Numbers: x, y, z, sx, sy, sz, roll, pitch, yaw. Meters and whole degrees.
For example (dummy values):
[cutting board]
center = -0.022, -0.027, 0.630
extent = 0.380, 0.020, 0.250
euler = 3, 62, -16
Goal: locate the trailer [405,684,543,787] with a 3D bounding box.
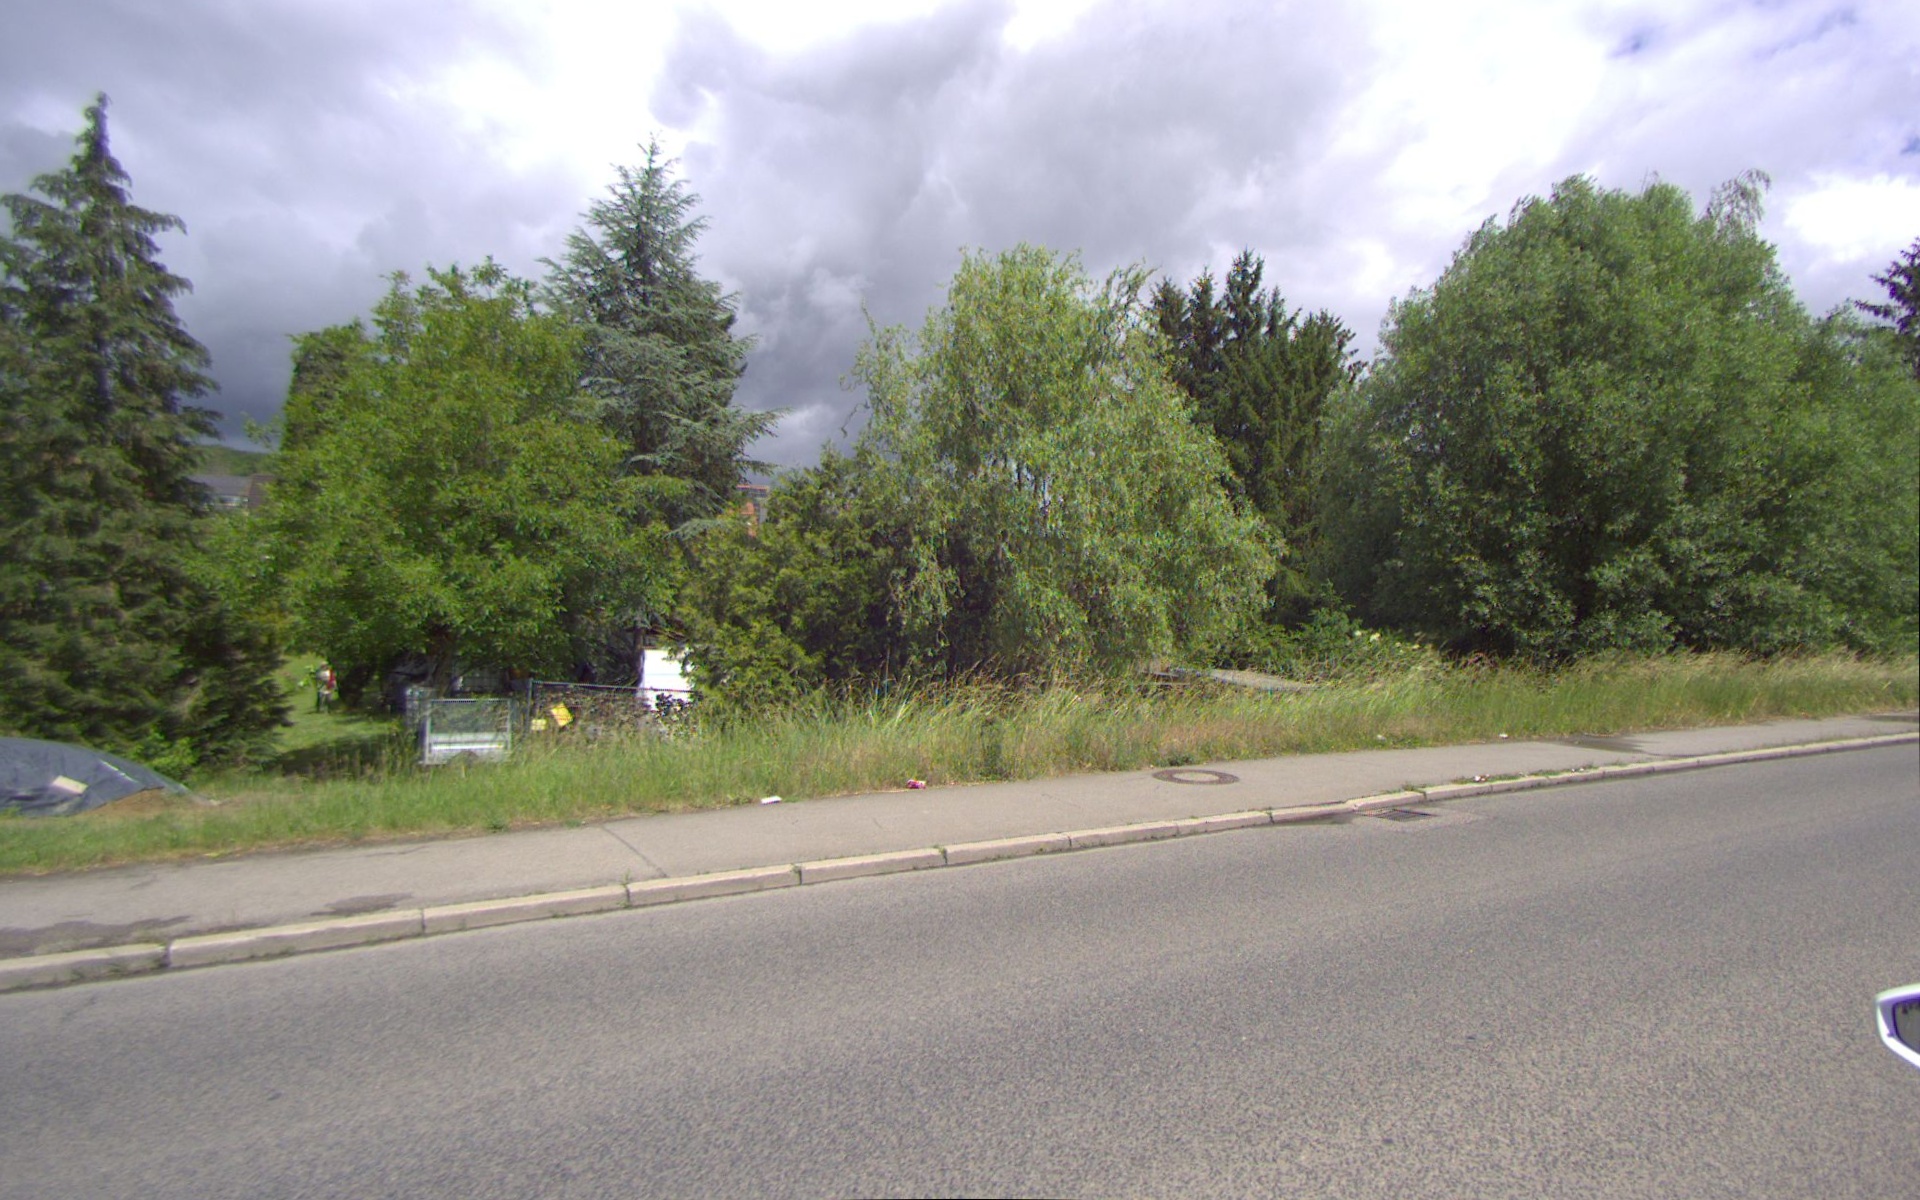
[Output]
[trailer]
center = -9.057, 2.453, 19.033
extent = 1.970, 1.576, 3.982
euler = 1, -3, -21

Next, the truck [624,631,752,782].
[truck]
center = -5.807, 2.034, 20.876
extent = 1.970, 2.643, 6.195
euler = 1, -3, -21
